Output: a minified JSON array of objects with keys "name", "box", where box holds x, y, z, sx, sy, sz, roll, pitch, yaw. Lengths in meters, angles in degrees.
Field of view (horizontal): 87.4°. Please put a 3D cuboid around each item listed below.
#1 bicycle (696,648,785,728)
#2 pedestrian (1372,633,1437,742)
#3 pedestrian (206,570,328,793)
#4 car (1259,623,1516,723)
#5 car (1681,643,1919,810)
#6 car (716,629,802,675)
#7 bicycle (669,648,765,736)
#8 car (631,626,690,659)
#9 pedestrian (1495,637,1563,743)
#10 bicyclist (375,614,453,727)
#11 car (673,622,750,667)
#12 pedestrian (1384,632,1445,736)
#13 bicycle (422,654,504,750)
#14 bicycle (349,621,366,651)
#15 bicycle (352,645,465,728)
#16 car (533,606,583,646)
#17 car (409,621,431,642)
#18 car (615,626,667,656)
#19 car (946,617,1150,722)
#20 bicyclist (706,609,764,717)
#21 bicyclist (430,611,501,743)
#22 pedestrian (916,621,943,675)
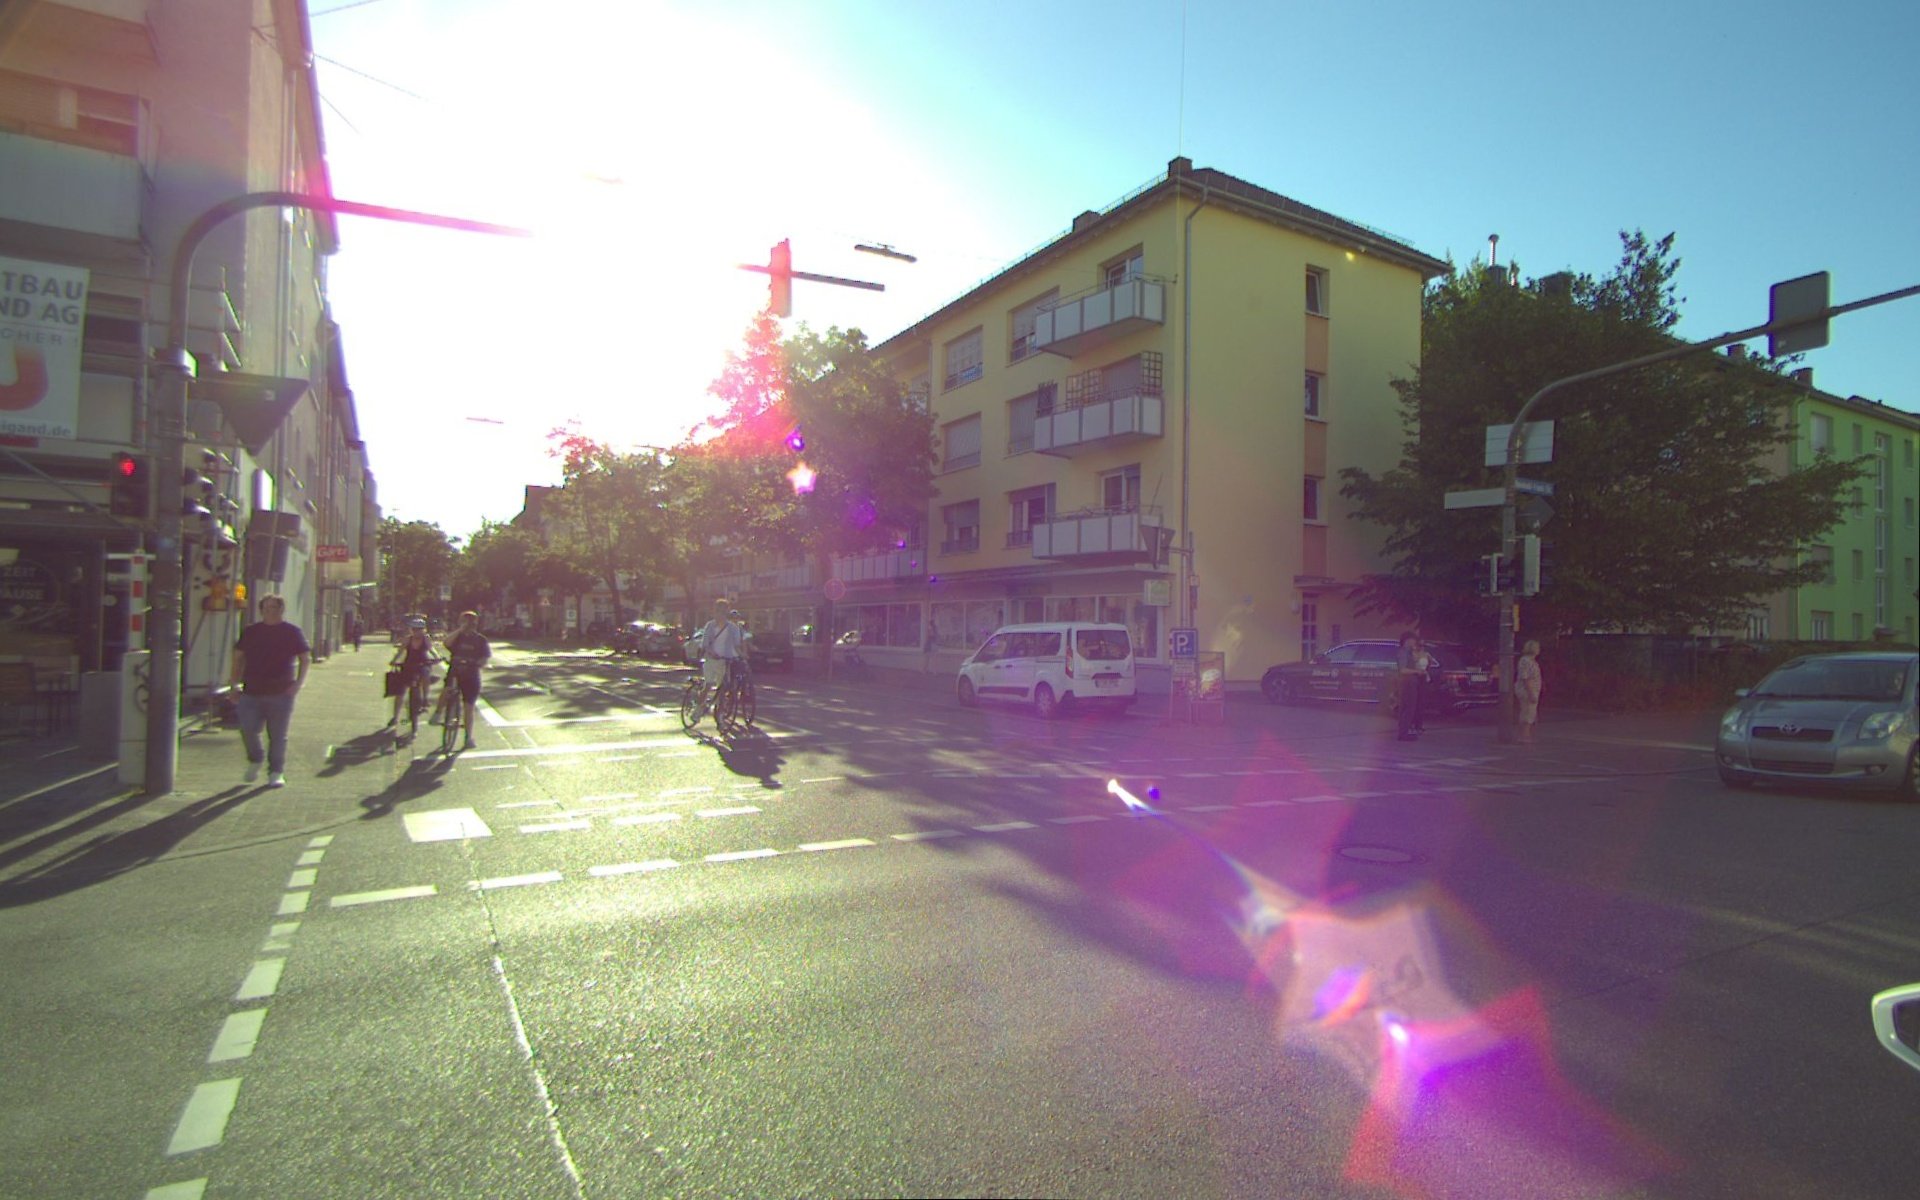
[{"name":"bicycle","box":[-3.637,1.402,16.509,0.721,1.172,1.979,1,-1,-35]},{"name":"pedestrian","box":[7.098,1.380,16.048,0.603,1.679,0.742,3,-2,-37]},{"name":"pedestrian","box":[-6.652,0.769,9.687,0.804,2.040,0.641,3,-1,-29]},{"name":"car","box":[8.483,1.383,20.365,1.823,1.635,4.565,2,-1,-32]},{"name":"car","box":[10.128,1.322,11.312,3.953,1.577,1.797,3,-4,-30]},{"name":"car","box":[-7.117,1.805,35.248,1.841,1.483,3.970,3,-2,-29]},{"name":"bicycle","box":[-3.678,1.337,15.082,0.721,1.182,1.979,1,-1,-35]},{"name":"car","box":[-14.236,1.994,47.623,1.841,1.483,3.970,3,-2,-29]},{"name":"pedestrian","box":[9.027,1.416,15.929,0.742,1.615,0.603,3,0,-33]},{"name":"bicyclist","box":[-8.144,1.049,15.015,0.737,1.614,0.688,4,-3,-11]},{"name":"car","box":[-9.937,1.744,39.896,1.821,1.635,4.375,3,-2,-29]},{"name":"pedestrian","box":[7.559,1.380,16.720,0.735,1.651,0.609,2,1,7]},{"name":"bicycle","box":[-6.498,1.293,13.226,0.717,1.103,1.991,1,-2,-20]},{"name":"bicycle","box":[-27.611,1.647,46.030,0.591,1.316,0.427,2,-2,-33]},{"name":"bicycle","box":[-8.147,1.256,14.955,0.715,1.103,2.268,4,-4,-10]},{"name":"car","box":[-25.620,1.645,63.966,1.848,2.390,3.956,3,-2,-38]},{"name":"car","box":[-45.320,2.631,84.306,1.377,1.764,2.796,2,-2,-31]},{"name":"car","box":[-16.947,2.175,53.255,1.841,1.483,3.970,3,-2,-29]},{"name":"car","box":[1.639,1.309,20.337,1.886,1.872,4.451,3,-2,-30]},{"name":"bicyclist","box":[-3.728,1.028,16.651,0.743,1.744,0.602,1,-1,-36]},{"name":"bicyclist","box":[-6.482,0.991,13.203,0.738,1.675,0.670,1,-1,-20]},{"name":"pedestrian","box":[-0.998,1.555,32.644,0.640,1.742,0.573,2,-2,-32]}]
